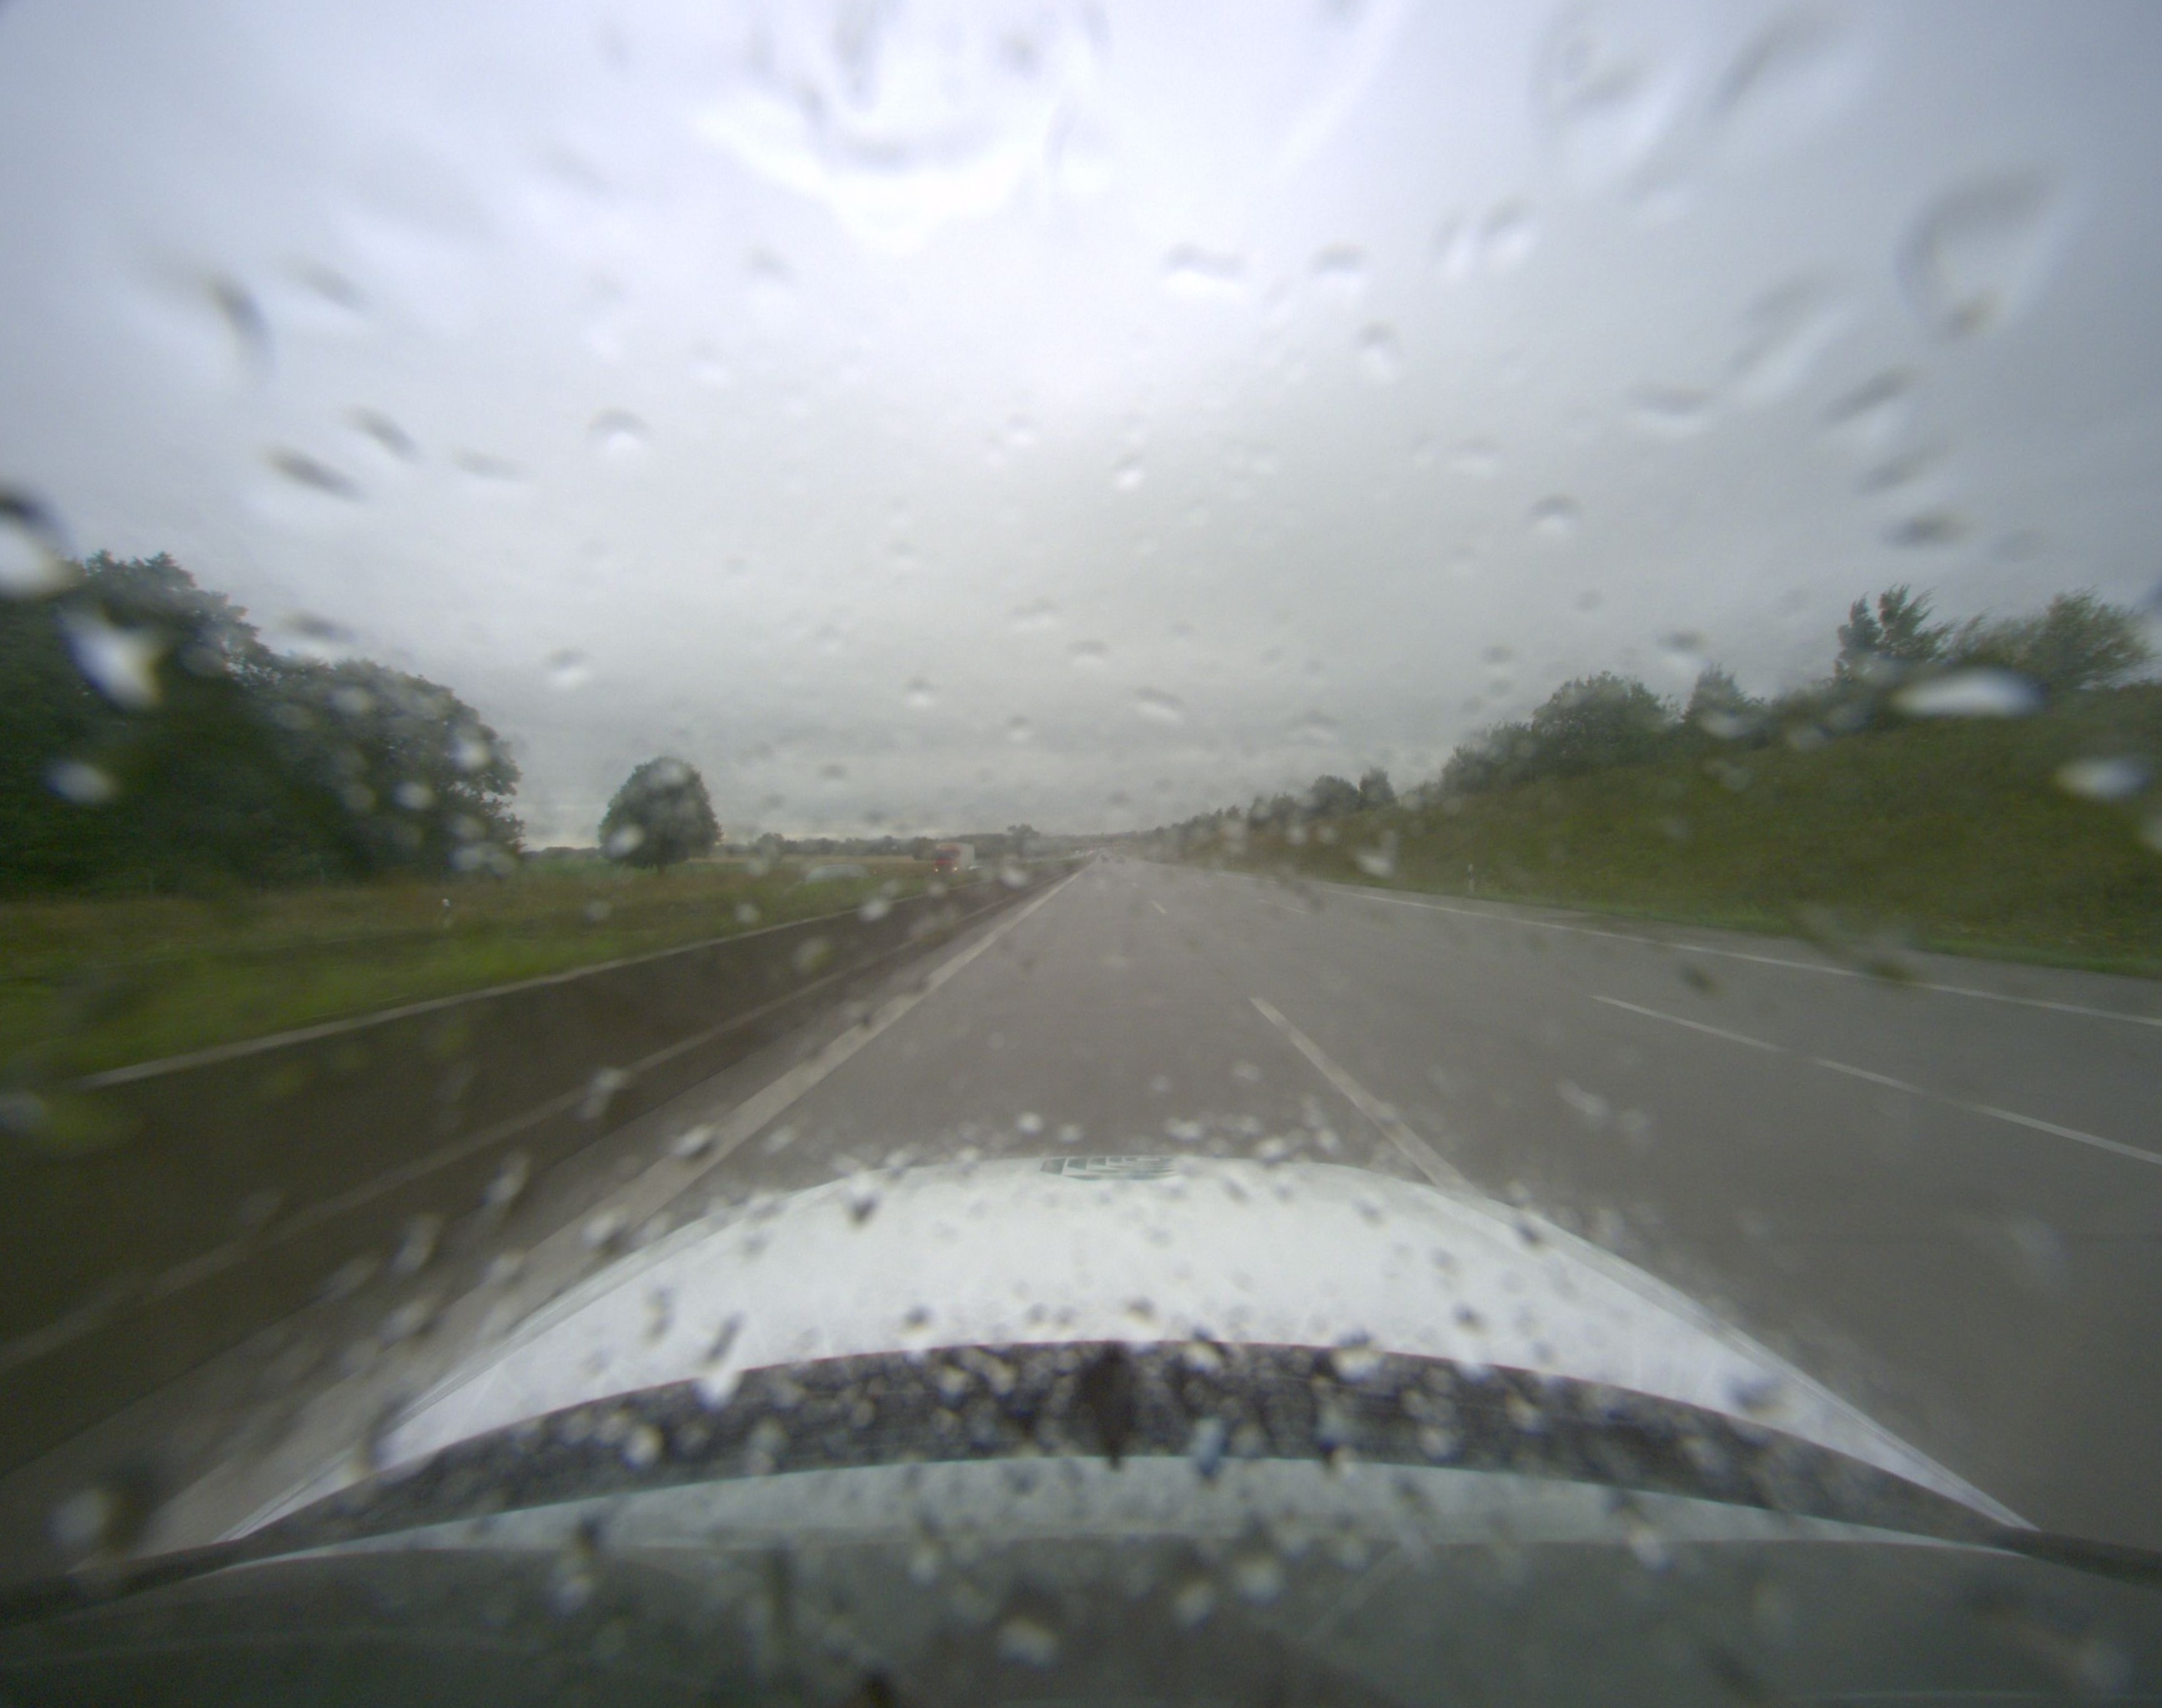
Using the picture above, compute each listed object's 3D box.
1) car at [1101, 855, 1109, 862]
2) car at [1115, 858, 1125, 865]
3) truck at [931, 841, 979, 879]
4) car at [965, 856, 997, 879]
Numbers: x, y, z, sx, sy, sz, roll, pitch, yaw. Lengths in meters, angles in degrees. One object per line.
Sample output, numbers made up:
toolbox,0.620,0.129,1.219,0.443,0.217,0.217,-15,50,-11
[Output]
car,5.494,1.045,186.592,1.722,1.331,4.432,-1,1,2
car,7.872,1.495,166.680,1.841,1.331,4.430,-1,1,0
truck,-13.738,0.533,89.906,2.892,3.855,12.455,-2,1,1
car,-7.255,0.957,59.580,1.646,1.542,4.455,-2,0,1
